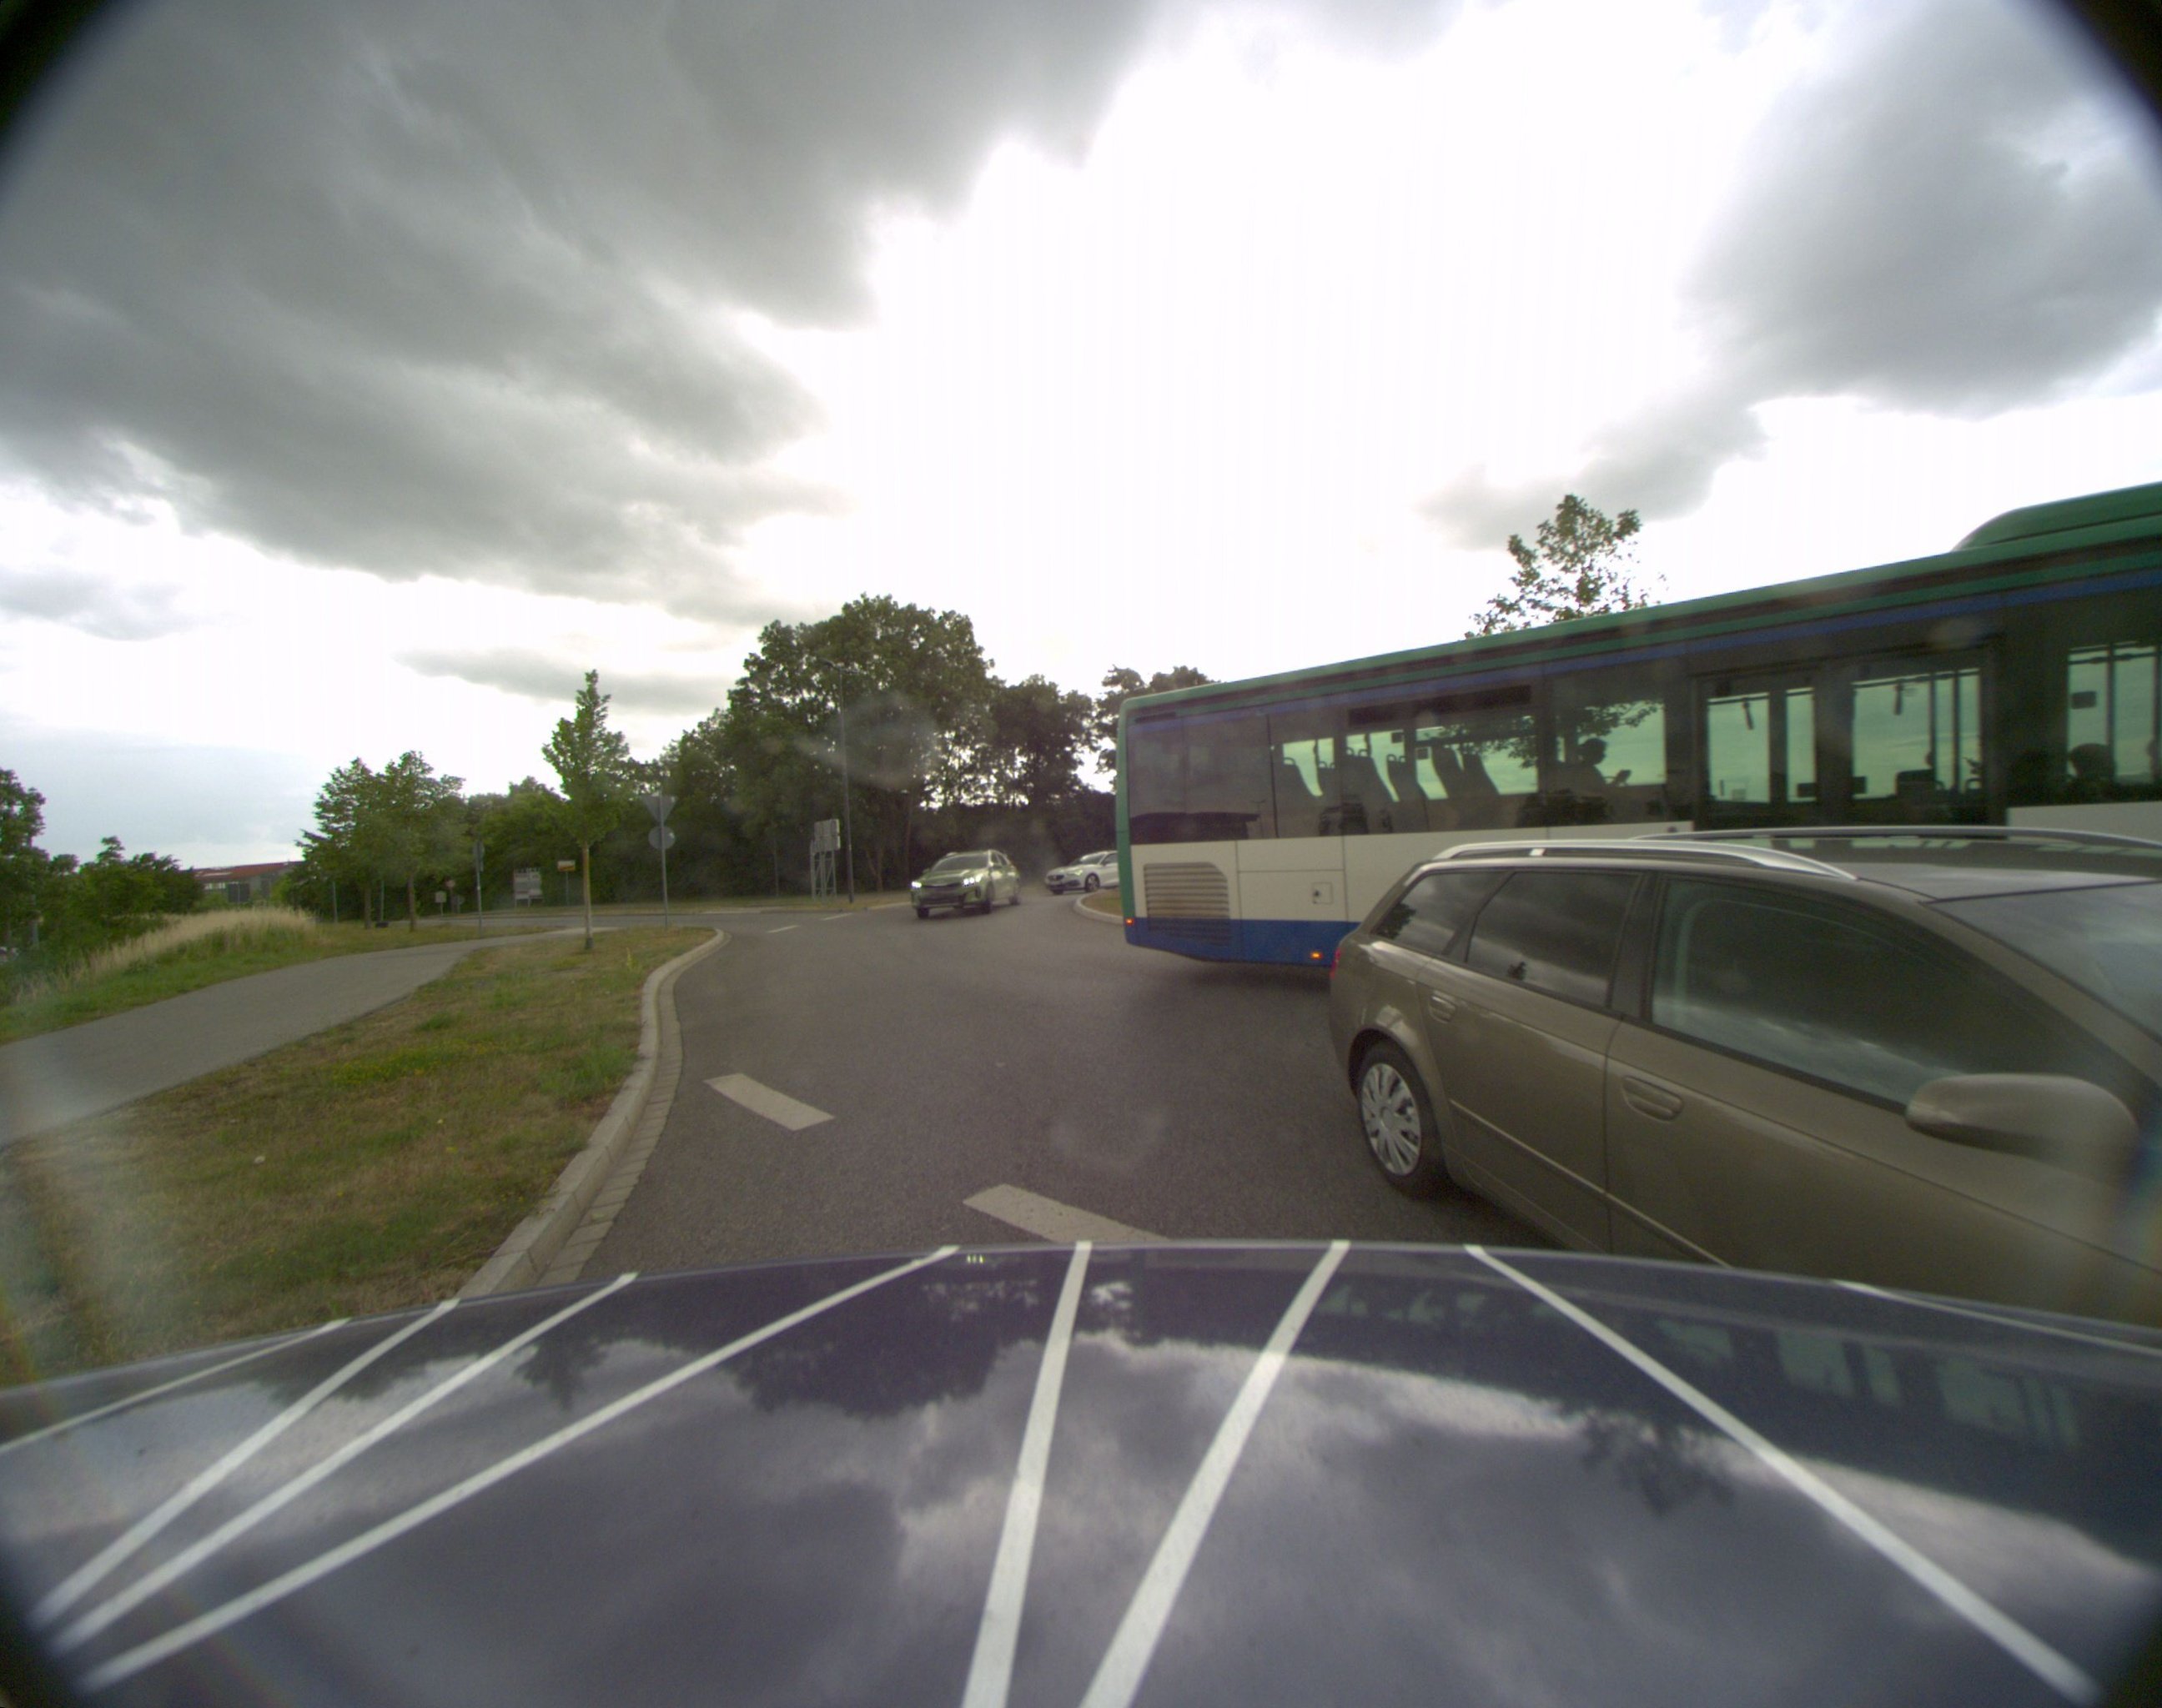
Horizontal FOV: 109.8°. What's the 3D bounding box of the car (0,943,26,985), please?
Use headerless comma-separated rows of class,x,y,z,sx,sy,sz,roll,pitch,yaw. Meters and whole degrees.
car,-42.127,4.256,27.747,3.896,1.455,1.693,-3,1,-42

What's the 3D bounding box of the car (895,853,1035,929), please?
car,-2.738,0.828,19.339,1.923,1.493,4.884,-4,0,10

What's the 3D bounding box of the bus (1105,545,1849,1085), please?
bus,3.226,-0.226,7.223,5.445,3.240,2.530,-1,2,38

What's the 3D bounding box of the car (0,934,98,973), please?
car,-49.830,4.746,35.844,3.896,1.455,1.693,-3,1,-42

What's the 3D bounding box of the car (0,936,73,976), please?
car,-47.015,4.523,32.817,3.896,1.455,1.693,-3,1,-42

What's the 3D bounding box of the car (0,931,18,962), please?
car,-53.593,4.579,35.747,1.879,1.435,4.007,-3,1,33

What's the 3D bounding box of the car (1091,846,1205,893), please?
car,2.729,0.618,31.540,4.274,1.592,1.925,-4,0,-8

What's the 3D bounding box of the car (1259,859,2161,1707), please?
car,2.197,0.801,1.819,1.783,1.456,4.537,-3,0,-9

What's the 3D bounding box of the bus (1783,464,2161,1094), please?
bus,7.966,-0.435,3.656,6.530,3.240,2.530,-1,2,38

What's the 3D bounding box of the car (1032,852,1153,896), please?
car,0.502,0.668,26.771,1.921,1.318,4.283,-4,-2,40

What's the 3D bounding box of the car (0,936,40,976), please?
car,-44.465,4.200,29.844,3.896,1.455,1.693,-3,1,-42
